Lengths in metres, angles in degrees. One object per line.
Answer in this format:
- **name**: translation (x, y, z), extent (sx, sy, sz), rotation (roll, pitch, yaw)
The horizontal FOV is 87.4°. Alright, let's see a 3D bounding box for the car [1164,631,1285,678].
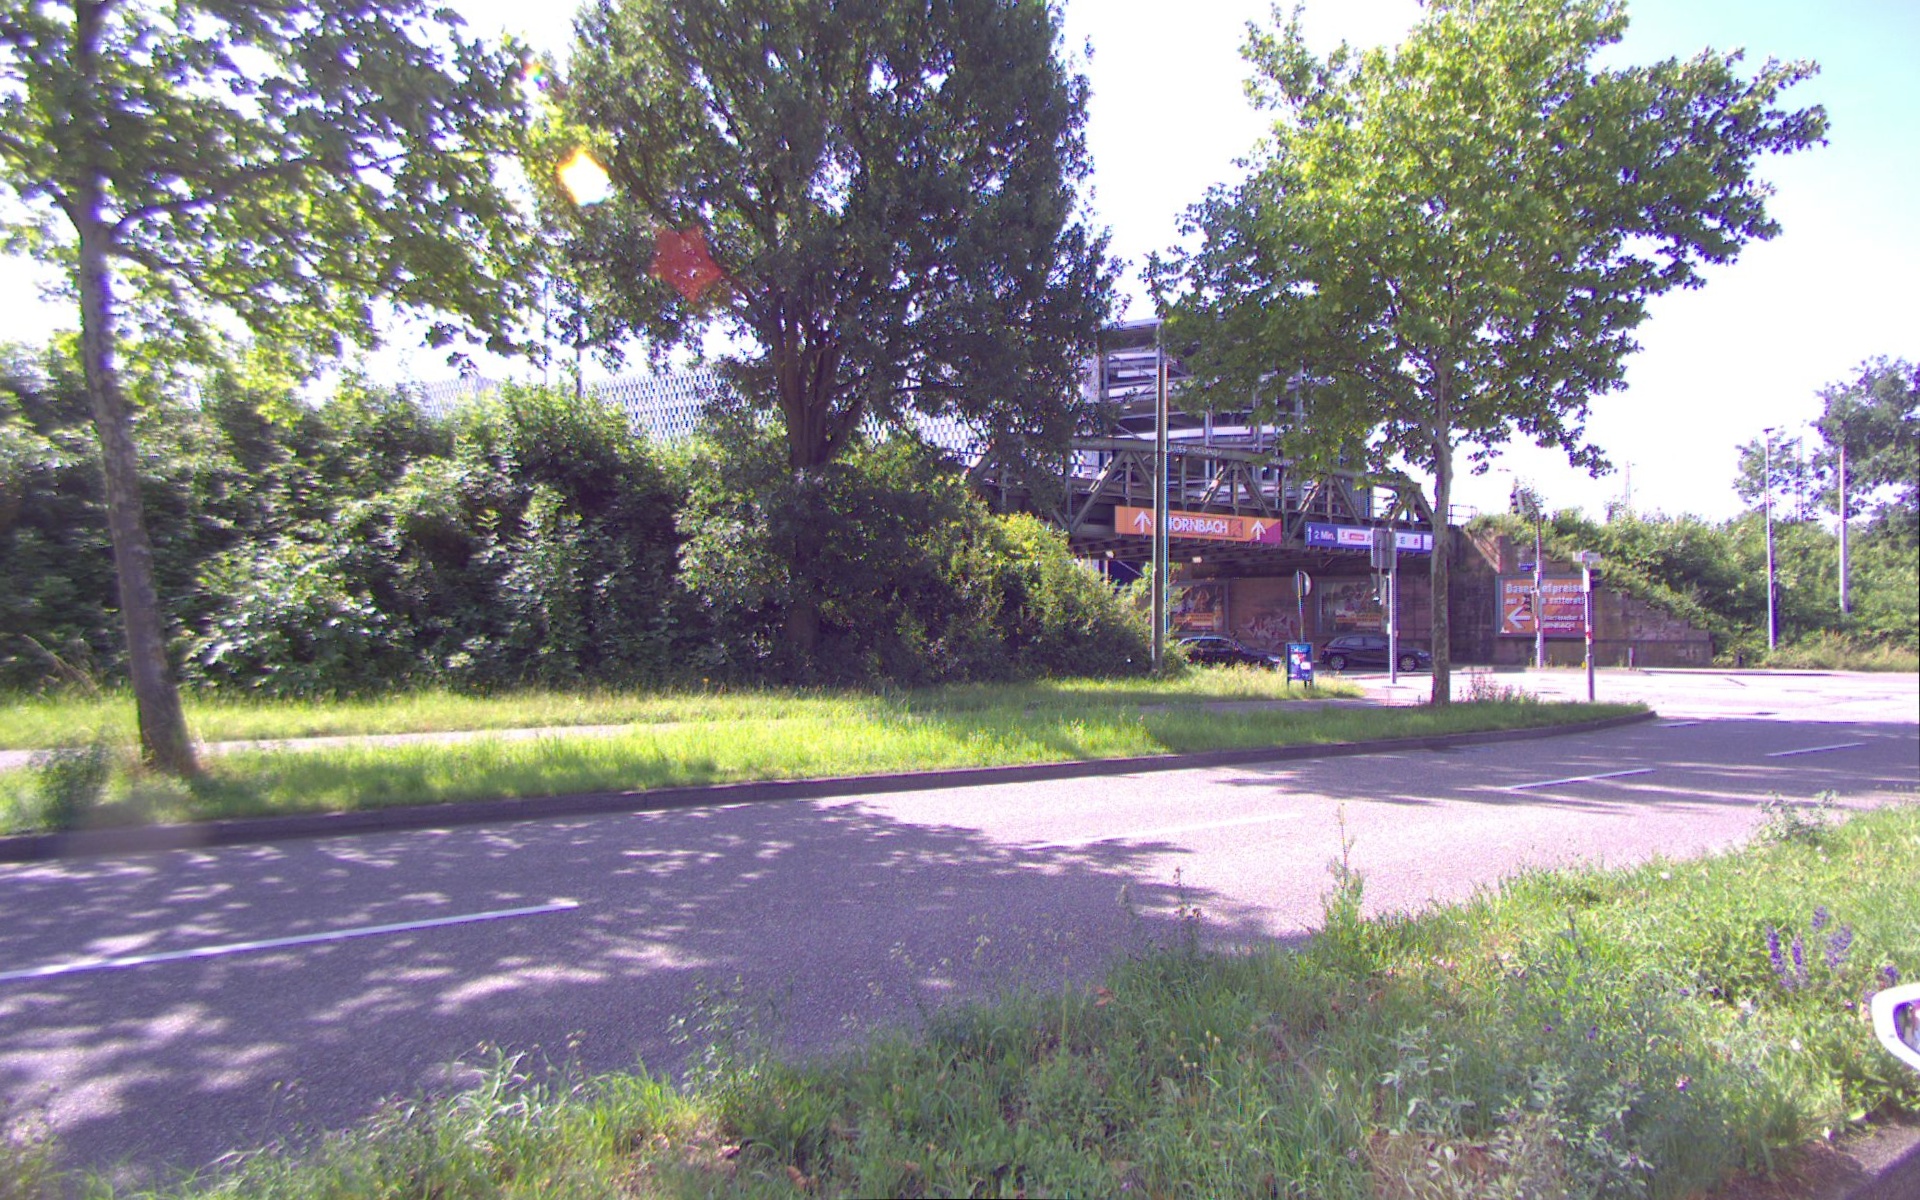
- **car**: translation (9.342, 1.896, 35.461), extent (3.869, 1.500, 1.822), rotation (1, -1, 25)

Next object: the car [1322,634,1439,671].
- **car**: translation (16.855, 2.075, 40.360), extent (4.253, 1.413, 1.770), rotation (-1, -2, 24)
